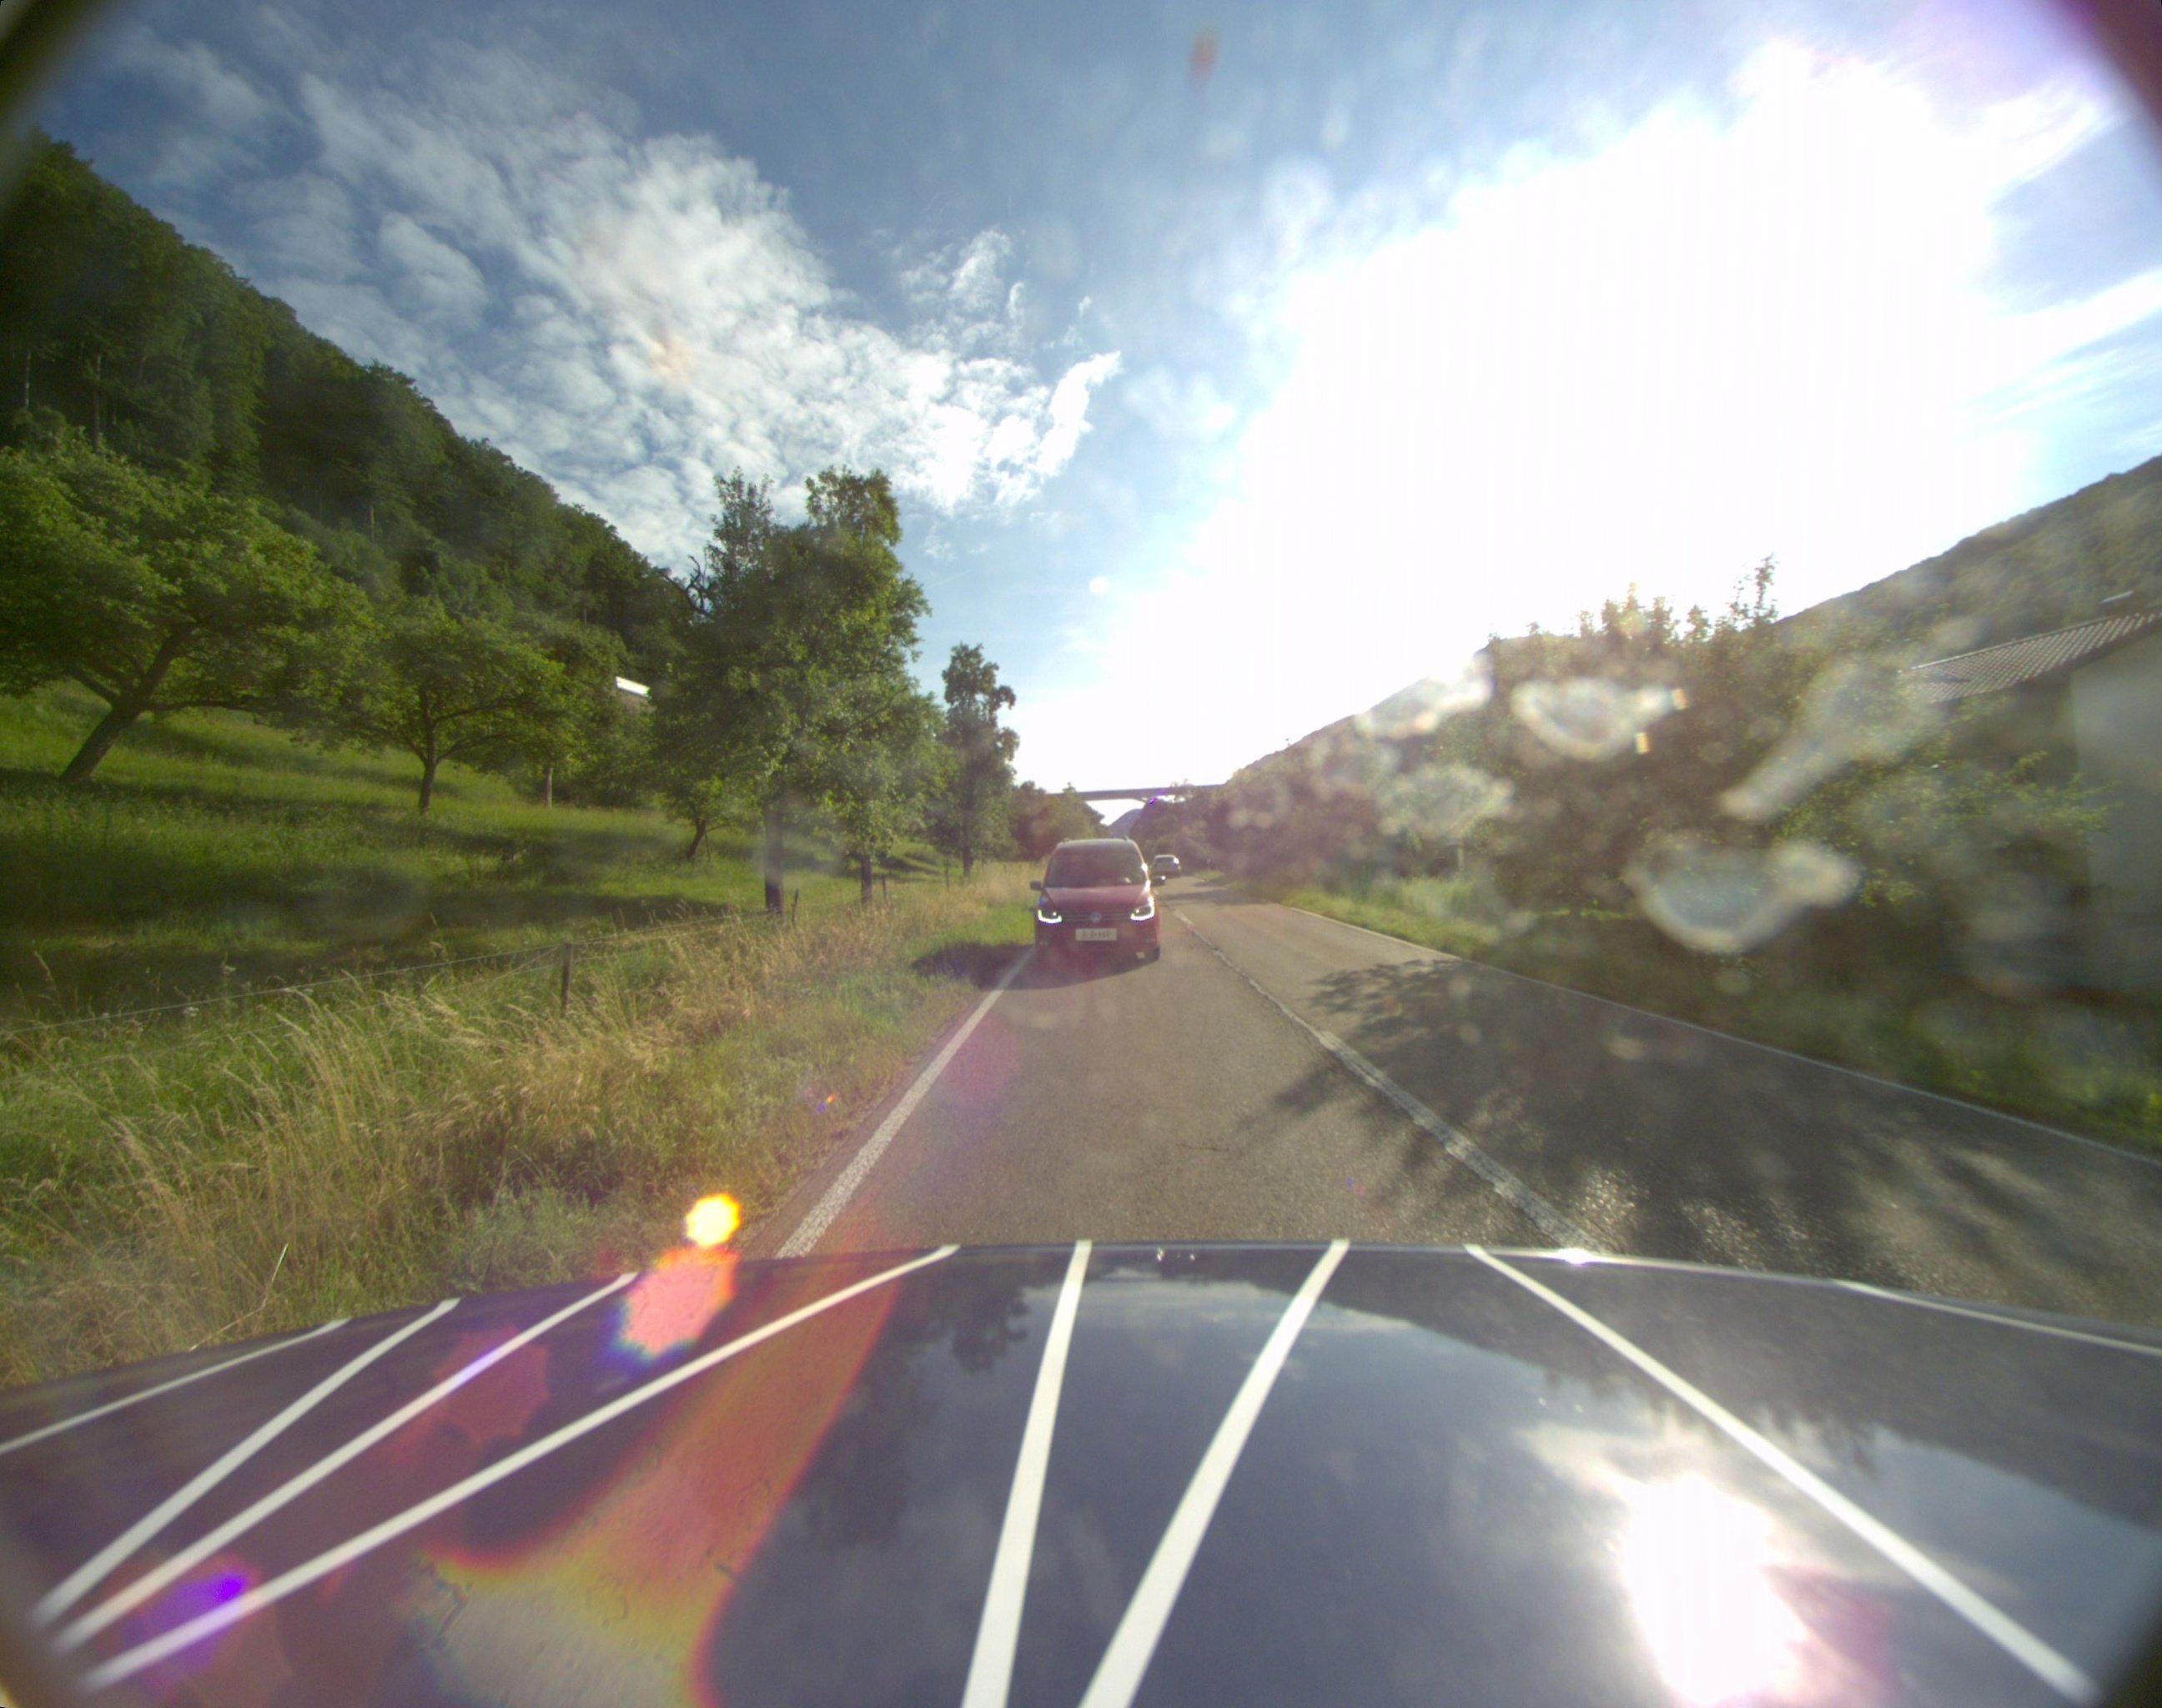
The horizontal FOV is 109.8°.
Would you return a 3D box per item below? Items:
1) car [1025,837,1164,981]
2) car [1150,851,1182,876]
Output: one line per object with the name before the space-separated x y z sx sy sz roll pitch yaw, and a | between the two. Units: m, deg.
car | 0.203 0.714 11.790 1.741 1.803 4.000 -1 0 1
car | 5.204 0.565 46.868 1.696 1.401 3.664 -1 1 2
